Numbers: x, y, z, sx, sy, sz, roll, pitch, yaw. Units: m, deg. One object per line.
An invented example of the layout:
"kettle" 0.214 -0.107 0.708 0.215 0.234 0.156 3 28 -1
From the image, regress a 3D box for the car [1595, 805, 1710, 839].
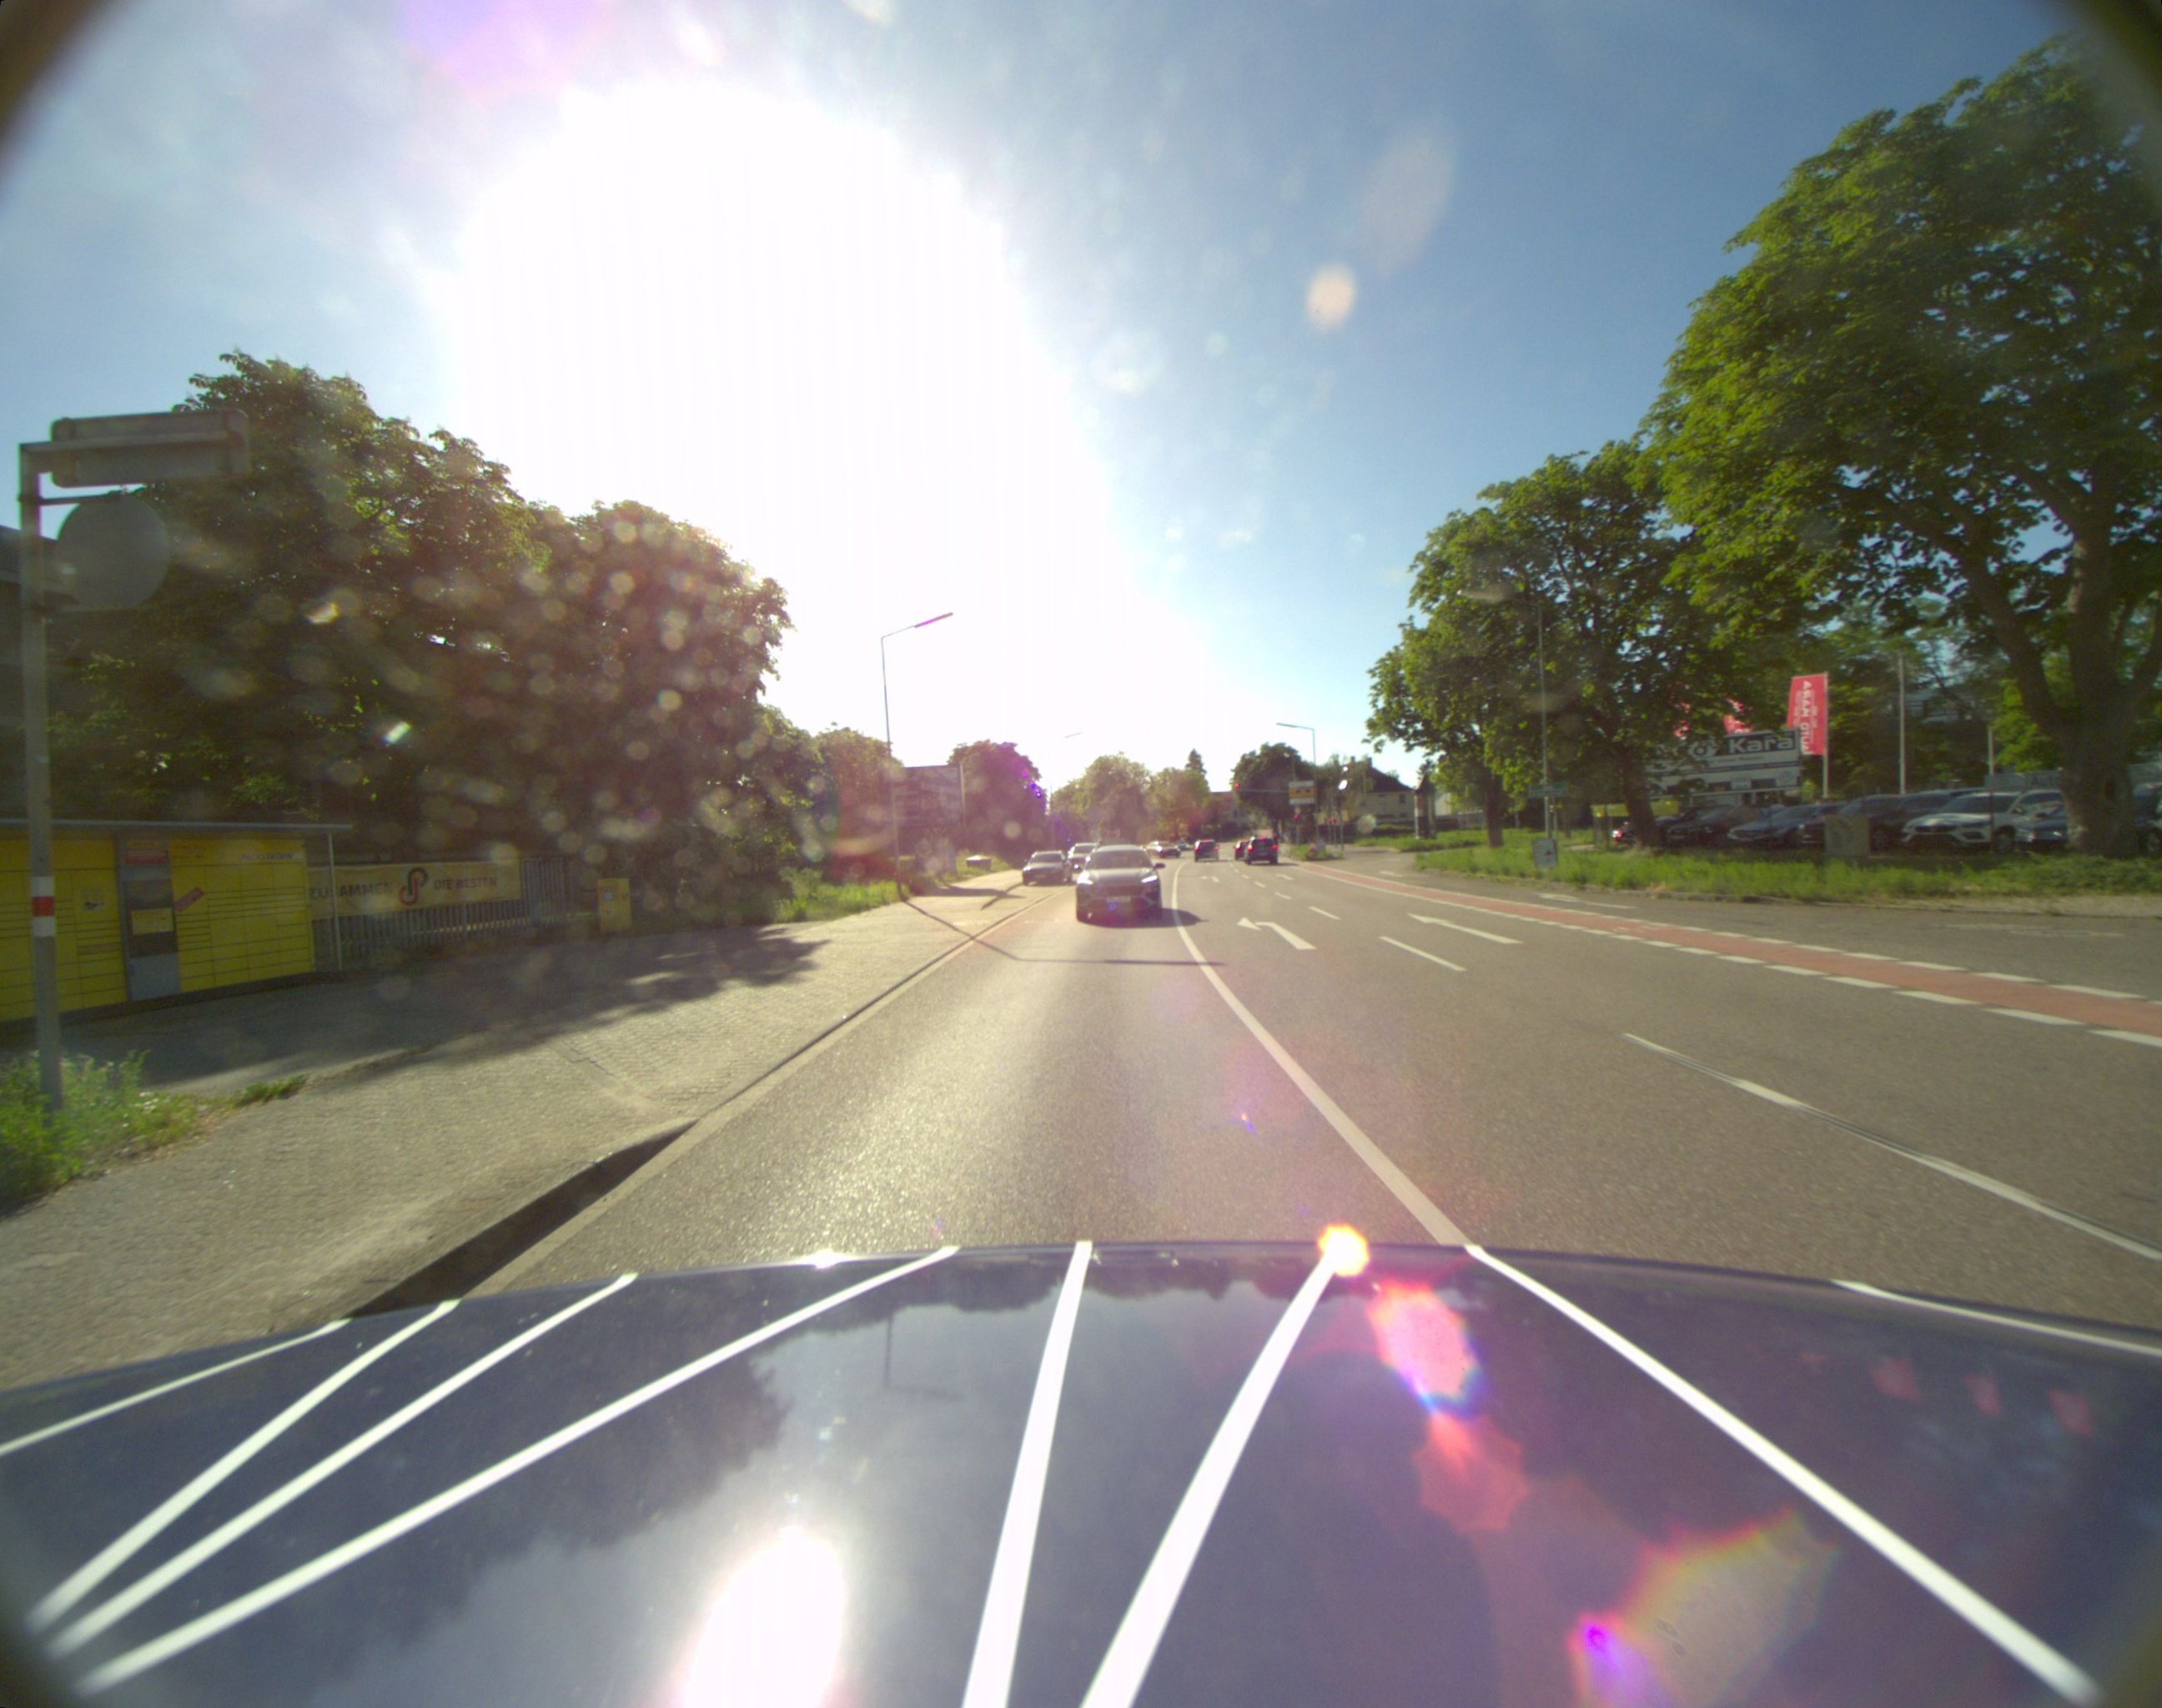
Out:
"car" 27.236 -1.535 36.183 5.066 1.302 2.356 -4 1 -27

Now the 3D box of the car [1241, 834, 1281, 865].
"car" 11.051 -0.270 46.843 1.856 1.726 4.272 -3 1 7

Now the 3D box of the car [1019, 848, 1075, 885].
"car" -1.479 0.525 34.599 1.812 1.411 4.425 -3 1 6

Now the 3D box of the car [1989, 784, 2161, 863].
"car" 23.493 -0.733 17.367 4.411 1.566 1.811 -4 1 -15

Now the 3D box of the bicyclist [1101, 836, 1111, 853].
"bicyclist" 2.267 -0.890 68.215 0.774 1.476 0.825 -4 1 1

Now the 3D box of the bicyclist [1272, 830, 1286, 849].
"bicyclist" 15.383 -1.153 58.976 0.935 1.394 0.823 -3 1 10

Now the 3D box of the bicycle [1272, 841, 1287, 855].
"bicycle" 15.410 -0.500 58.919 0.938 1.011 2.198 -3 1 11

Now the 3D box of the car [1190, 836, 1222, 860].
"car" 9.223 -0.477 56.227 1.917 1.590 4.000 -2 2 3

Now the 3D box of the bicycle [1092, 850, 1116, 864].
"bicycle" 2.188 0.240 70.948 0.901 1.119 2.958 -3 1 31

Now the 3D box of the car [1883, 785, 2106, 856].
"car" 24.462 -0.872 20.427 3.999 1.601 1.921 -4 1 -7

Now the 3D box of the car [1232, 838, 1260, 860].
"car" 11.837 -0.379 54.750 1.787 1.407 3.892 -3 2 10

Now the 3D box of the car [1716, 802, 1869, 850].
"car" 24.645 -0.957 26.378 3.881 1.404 1.944 -4 1 -12

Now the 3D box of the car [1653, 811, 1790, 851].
"car" 24.411 -0.862 29.025 3.934 1.233 2.041 -4 1 -14

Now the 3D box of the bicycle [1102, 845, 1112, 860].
"bicycle" 2.334 -0.166 68.413 0.795 1.219 3.212 -3 1 1

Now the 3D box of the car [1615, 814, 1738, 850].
"car" 24.909 -0.922 31.849 3.934 1.233 2.041 -4 1 -14

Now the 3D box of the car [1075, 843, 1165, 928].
"car" 1.001 0.615 17.343 1.714 1.636 4.056 -2 1 7

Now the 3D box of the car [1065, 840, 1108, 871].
"car" 0.403 0.060 46.597 1.876 1.713 4.614 -1 2 9

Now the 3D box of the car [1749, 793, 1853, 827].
"car" 34.623 -2.058 36.673 1.742 1.453 4.002 -3 1 11

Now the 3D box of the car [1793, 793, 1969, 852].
"car" 24.685 -0.953 23.497 4.001 1.551 1.998 -4 1 -14
